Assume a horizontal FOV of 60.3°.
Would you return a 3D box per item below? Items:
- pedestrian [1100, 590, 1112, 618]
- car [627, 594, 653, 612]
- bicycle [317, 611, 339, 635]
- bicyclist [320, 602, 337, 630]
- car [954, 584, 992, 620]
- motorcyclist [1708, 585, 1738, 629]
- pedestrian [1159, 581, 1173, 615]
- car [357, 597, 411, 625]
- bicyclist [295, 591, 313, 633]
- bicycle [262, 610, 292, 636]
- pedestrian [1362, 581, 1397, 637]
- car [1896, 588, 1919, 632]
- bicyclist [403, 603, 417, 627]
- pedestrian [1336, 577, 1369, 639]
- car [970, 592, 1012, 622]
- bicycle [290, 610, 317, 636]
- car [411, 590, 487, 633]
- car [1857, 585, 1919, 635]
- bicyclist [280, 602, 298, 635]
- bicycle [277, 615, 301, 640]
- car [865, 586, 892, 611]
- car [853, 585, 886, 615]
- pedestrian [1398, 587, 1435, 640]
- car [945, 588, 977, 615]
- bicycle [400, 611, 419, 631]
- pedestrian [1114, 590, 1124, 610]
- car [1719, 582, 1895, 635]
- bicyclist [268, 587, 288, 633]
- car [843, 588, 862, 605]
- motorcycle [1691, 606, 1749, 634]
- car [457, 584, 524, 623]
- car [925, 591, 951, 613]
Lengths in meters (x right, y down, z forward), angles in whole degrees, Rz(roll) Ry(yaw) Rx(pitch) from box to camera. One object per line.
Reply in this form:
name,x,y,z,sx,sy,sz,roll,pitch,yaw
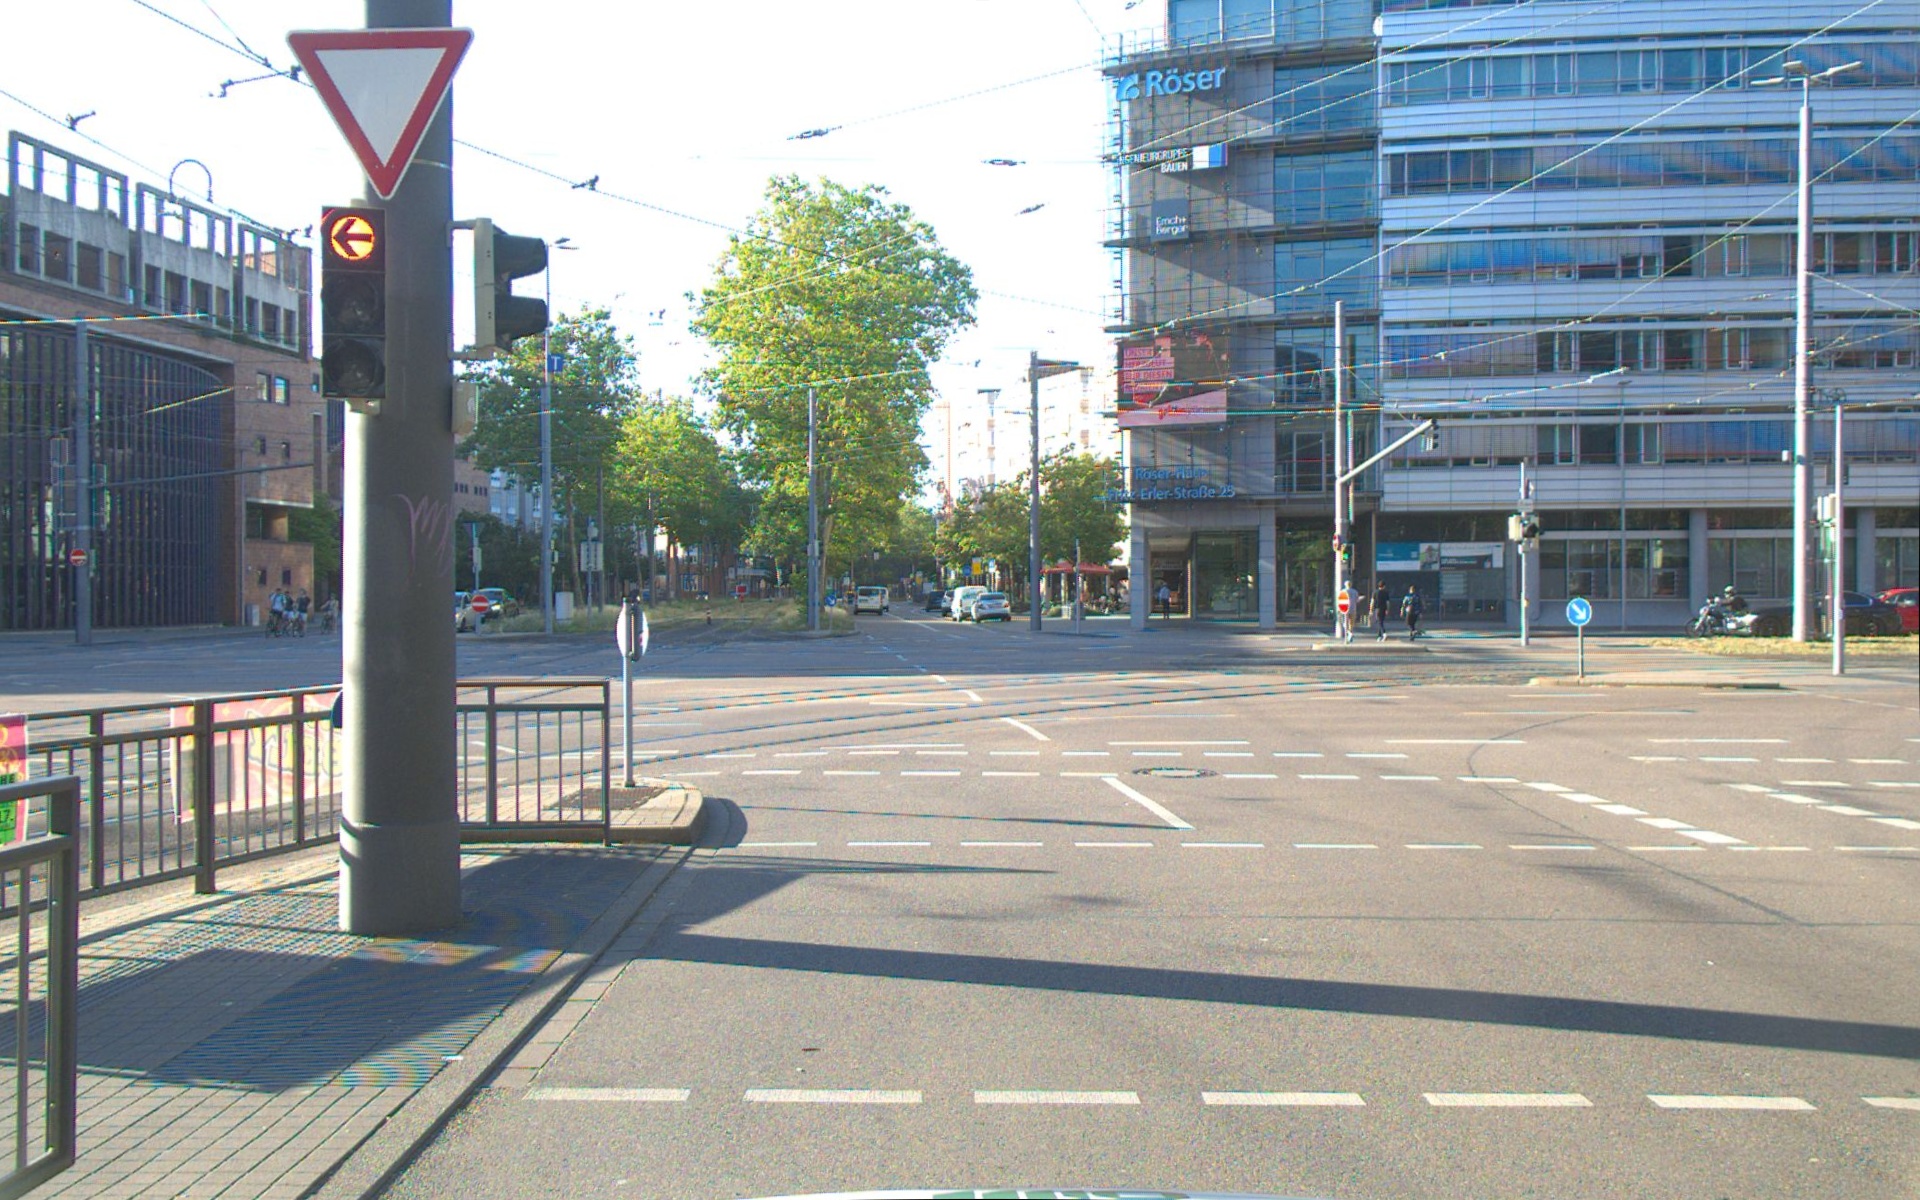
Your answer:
pedestrian,9.270,0.257,105.099,0.729,1.744,0.612,-1,0,-1
car,-32.953,0.302,170.566,1.953,1.847,3.999,-1,0,-1
bicycle,-27.149,0.984,71.100,0.442,0.980,1.347,-1,0,-1
bicyclist,-27.138,0.698,71.062,0.495,1.199,0.581,-1,0,-1
car,0.690,0.114,89.574,1.953,1.892,3.999,-1,0,-1
motorcyclist,22.997,0.217,49.857,0.697,1.298,0.460,-1,0,3
pedestrian,9.317,-0.094,74.936,0.599,1.534,0.579,-1,0,9
car,-31.284,0.585,89.923,1.633,1.461,3.999,-1,0,-2
bicyclist,-25.895,0.459,65.279,0.449,1.631,0.581,-1,0,-1
bicycle,-26.824,0.908,64.965,0.531,0.980,1.586,-1,0,-1
pedestrian,12.867,0.273,50.745,0.893,1.714,1.036,-1,0,6
car,33.528,0.285,54.736,4.070,1.423,1.786,-1,0,4
bicyclist,-27.801,0.759,83.569,0.495,1.232,0.581,-1,0,-1
pedestrian,11.789,0.239,49.709,0.845,1.820,0.872,-1,0,6
car,1.539,0.335,82.789,1.953,1.400,3.999,-1,0,-1
bicycle,-25.903,0.896,65.279,0.463,0.980,1.575,-1,0,-1
car,-20.665,0.445,67.036,1.953,1.668,3.999,-1,0,-2
car,29.341,0.244,49.549,3.903,1.418,1.786,-2,0,4
bicyclist,-27.617,0.768,68.093,0.495,1.327,0.581,-1,0,-1
bicycle,-27.628,1.133,68.095,0.458,0.980,1.320,-1,0,-1
car,-6.373,-0.141,129.628,1.953,1.945,3.999,-1,0,-1
car,-5.978,-0.011,109.416,1.921,1.881,5.329,-1,0,-1
pedestrian,13.899,0.404,50.388,0.928,1.591,0.897,-1,0,6
car,0.039,0.068,105.211,1.953,1.646,3.999,-1,0,-1
bicycle,-27.797,1.039,83.480,0.482,0.980,1.486,-1,0,-1
pedestrian,10.574,-0.014,110.198,0.565,1.311,0.910,-1,0,-1
car,24.041,0.239,47.029,4.070,1.423,1.786,-1,0,4
bicyclist,-26.821,0.392,65.057,0.525,1.761,0.581,-1,0,-1
car,-12.576,-0.424,194.065,1.953,2.049,3.999,-1,0,-1
motorcycle,22.900,0.606,49.855,1.535,0.824,0.467,-1,0,3
car,-21.119,0.145,74.595,1.953,1.668,3.999,-1,0,-2
car,-1.676,0.128,126.634,1.953,1.646,3.999,-1,0,-1
